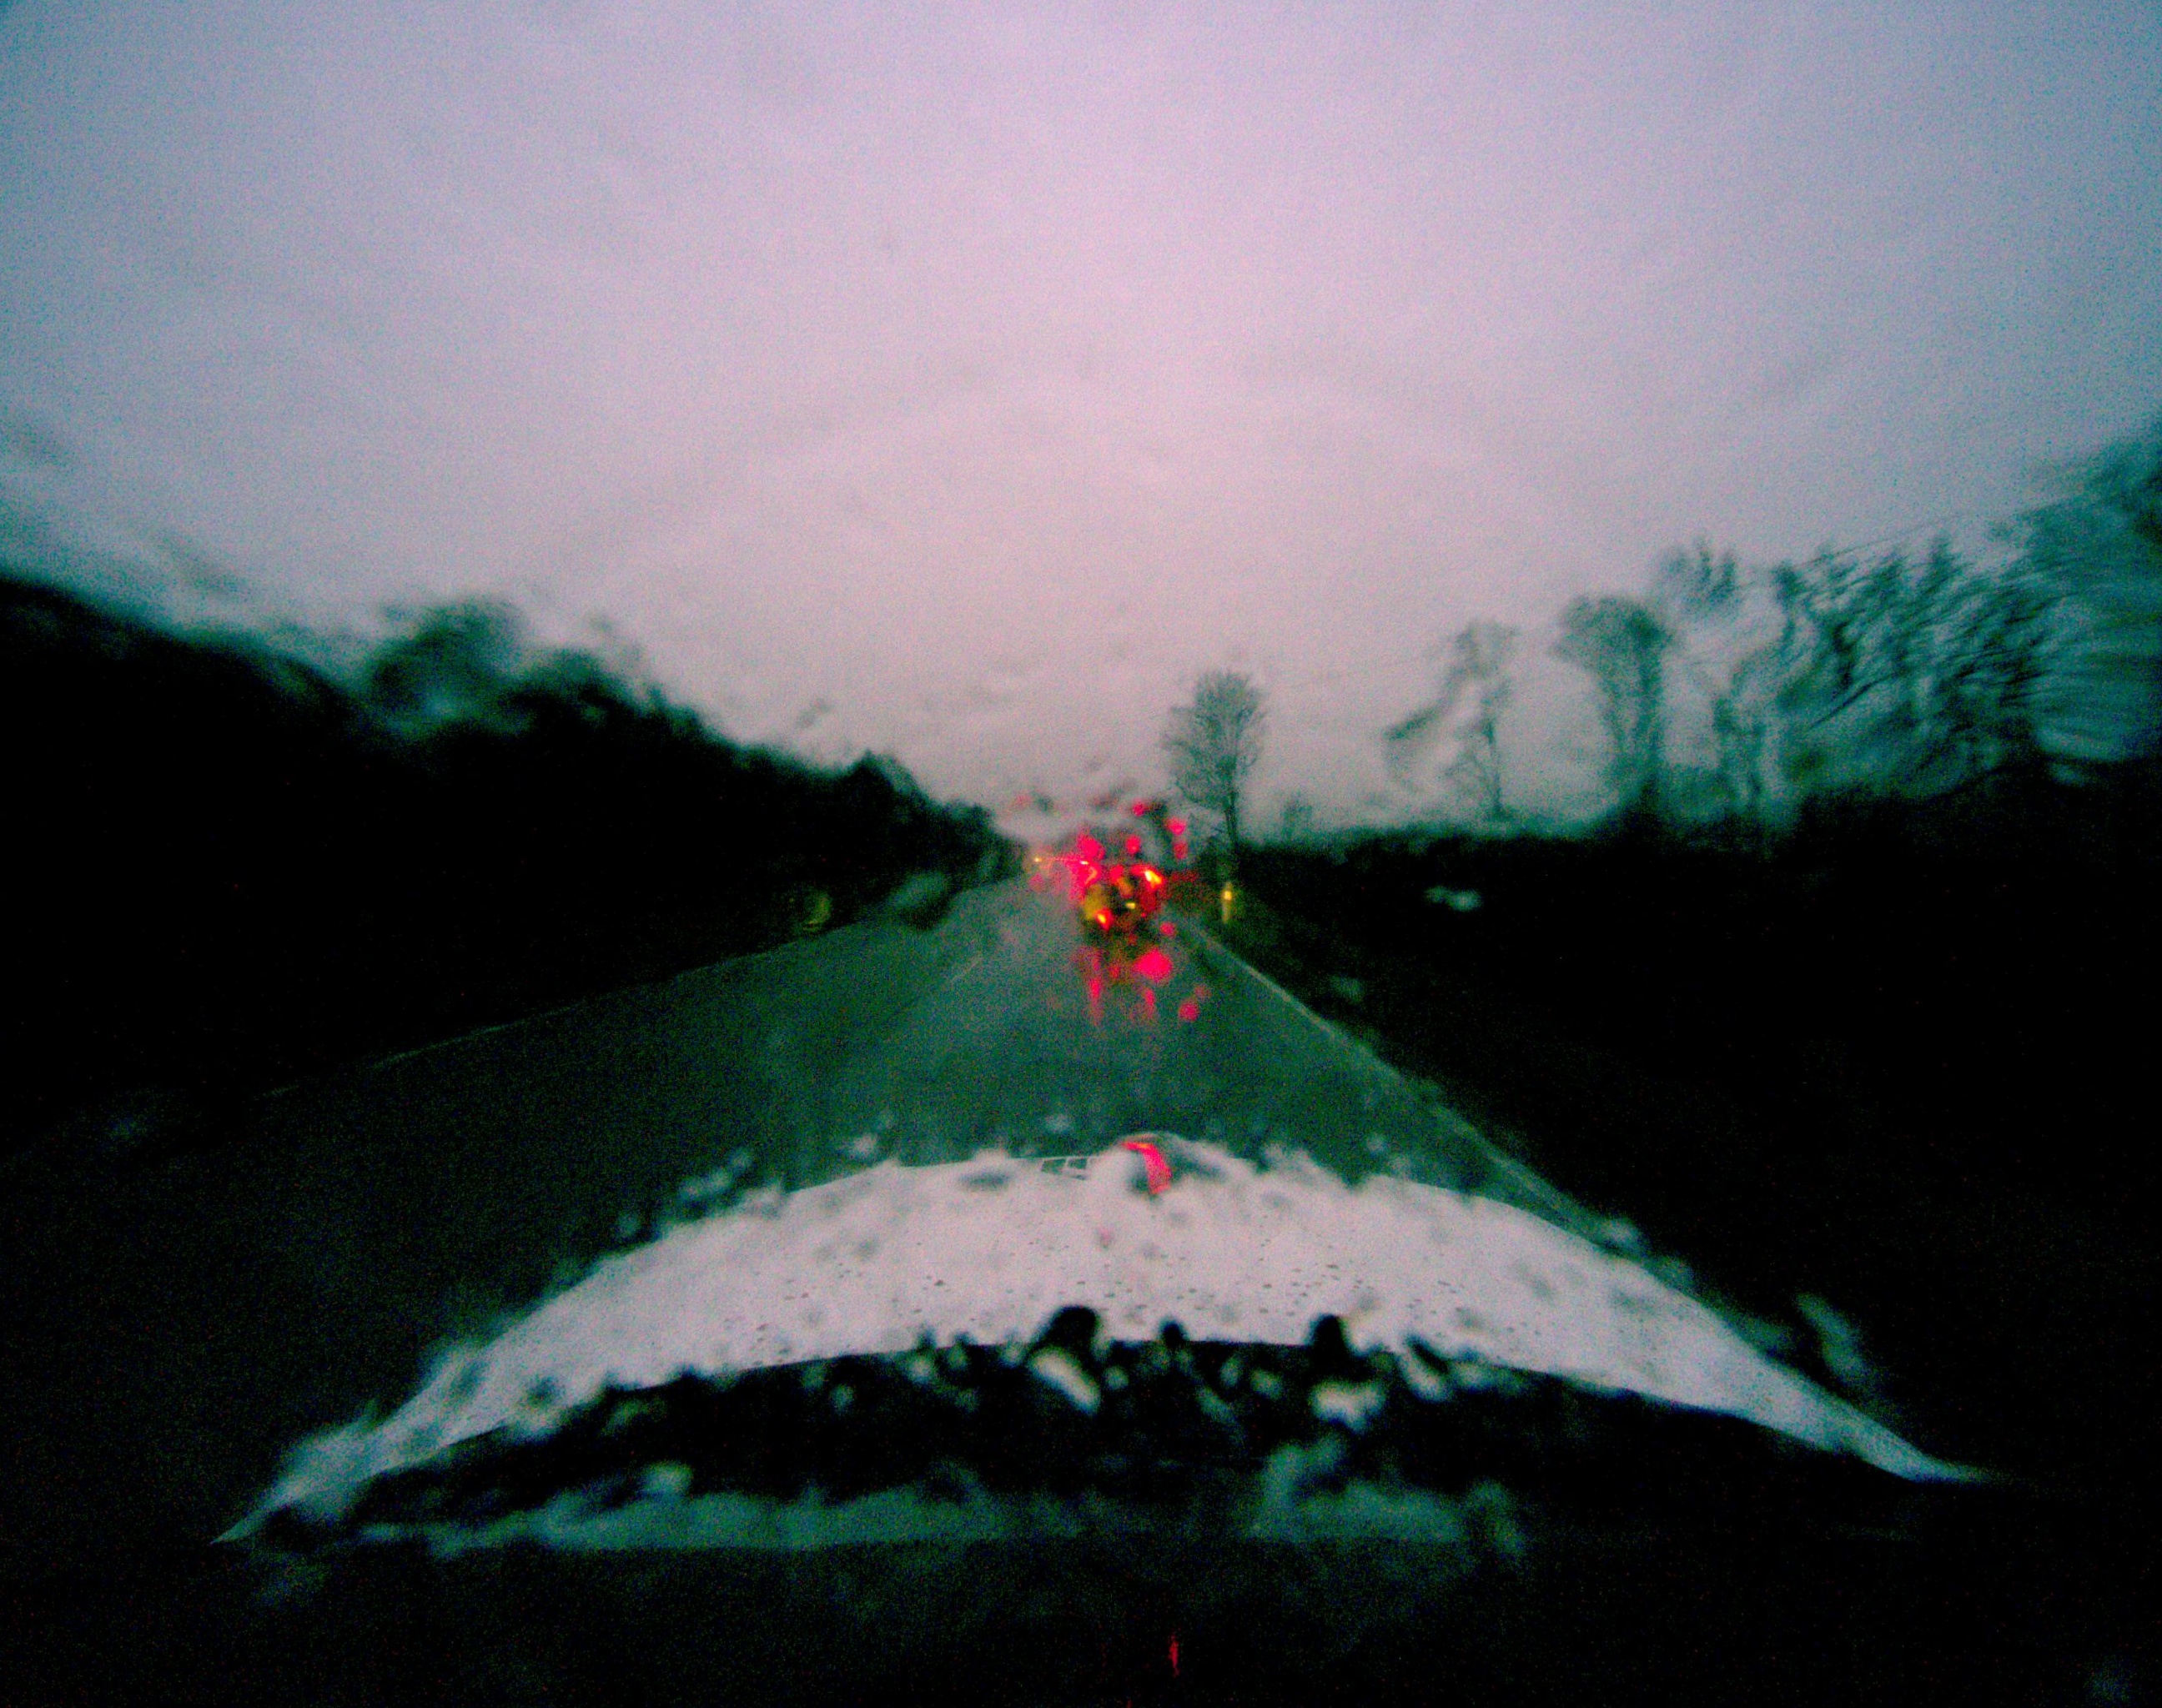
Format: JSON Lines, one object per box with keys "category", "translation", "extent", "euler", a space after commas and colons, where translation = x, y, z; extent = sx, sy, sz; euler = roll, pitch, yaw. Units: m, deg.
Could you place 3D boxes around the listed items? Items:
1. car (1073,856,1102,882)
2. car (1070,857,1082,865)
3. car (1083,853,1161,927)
{"category": "car", "translation": [0.404, 0.834, 47.085], "extent": [1.541, 1.396, 3.871], "euler": [-1, 0, 2]}
{"category": "car", "translation": [-0.818, 1.221, 140.426], "extent": [1.539, 1.396, 3.876], "euler": [-1, 0, 6]}
{"category": "car", "translation": [0.892, 0.750, 18.904], "extent": [1.596, 1.522, 3.870], "euler": [-1, 0, 1]}
